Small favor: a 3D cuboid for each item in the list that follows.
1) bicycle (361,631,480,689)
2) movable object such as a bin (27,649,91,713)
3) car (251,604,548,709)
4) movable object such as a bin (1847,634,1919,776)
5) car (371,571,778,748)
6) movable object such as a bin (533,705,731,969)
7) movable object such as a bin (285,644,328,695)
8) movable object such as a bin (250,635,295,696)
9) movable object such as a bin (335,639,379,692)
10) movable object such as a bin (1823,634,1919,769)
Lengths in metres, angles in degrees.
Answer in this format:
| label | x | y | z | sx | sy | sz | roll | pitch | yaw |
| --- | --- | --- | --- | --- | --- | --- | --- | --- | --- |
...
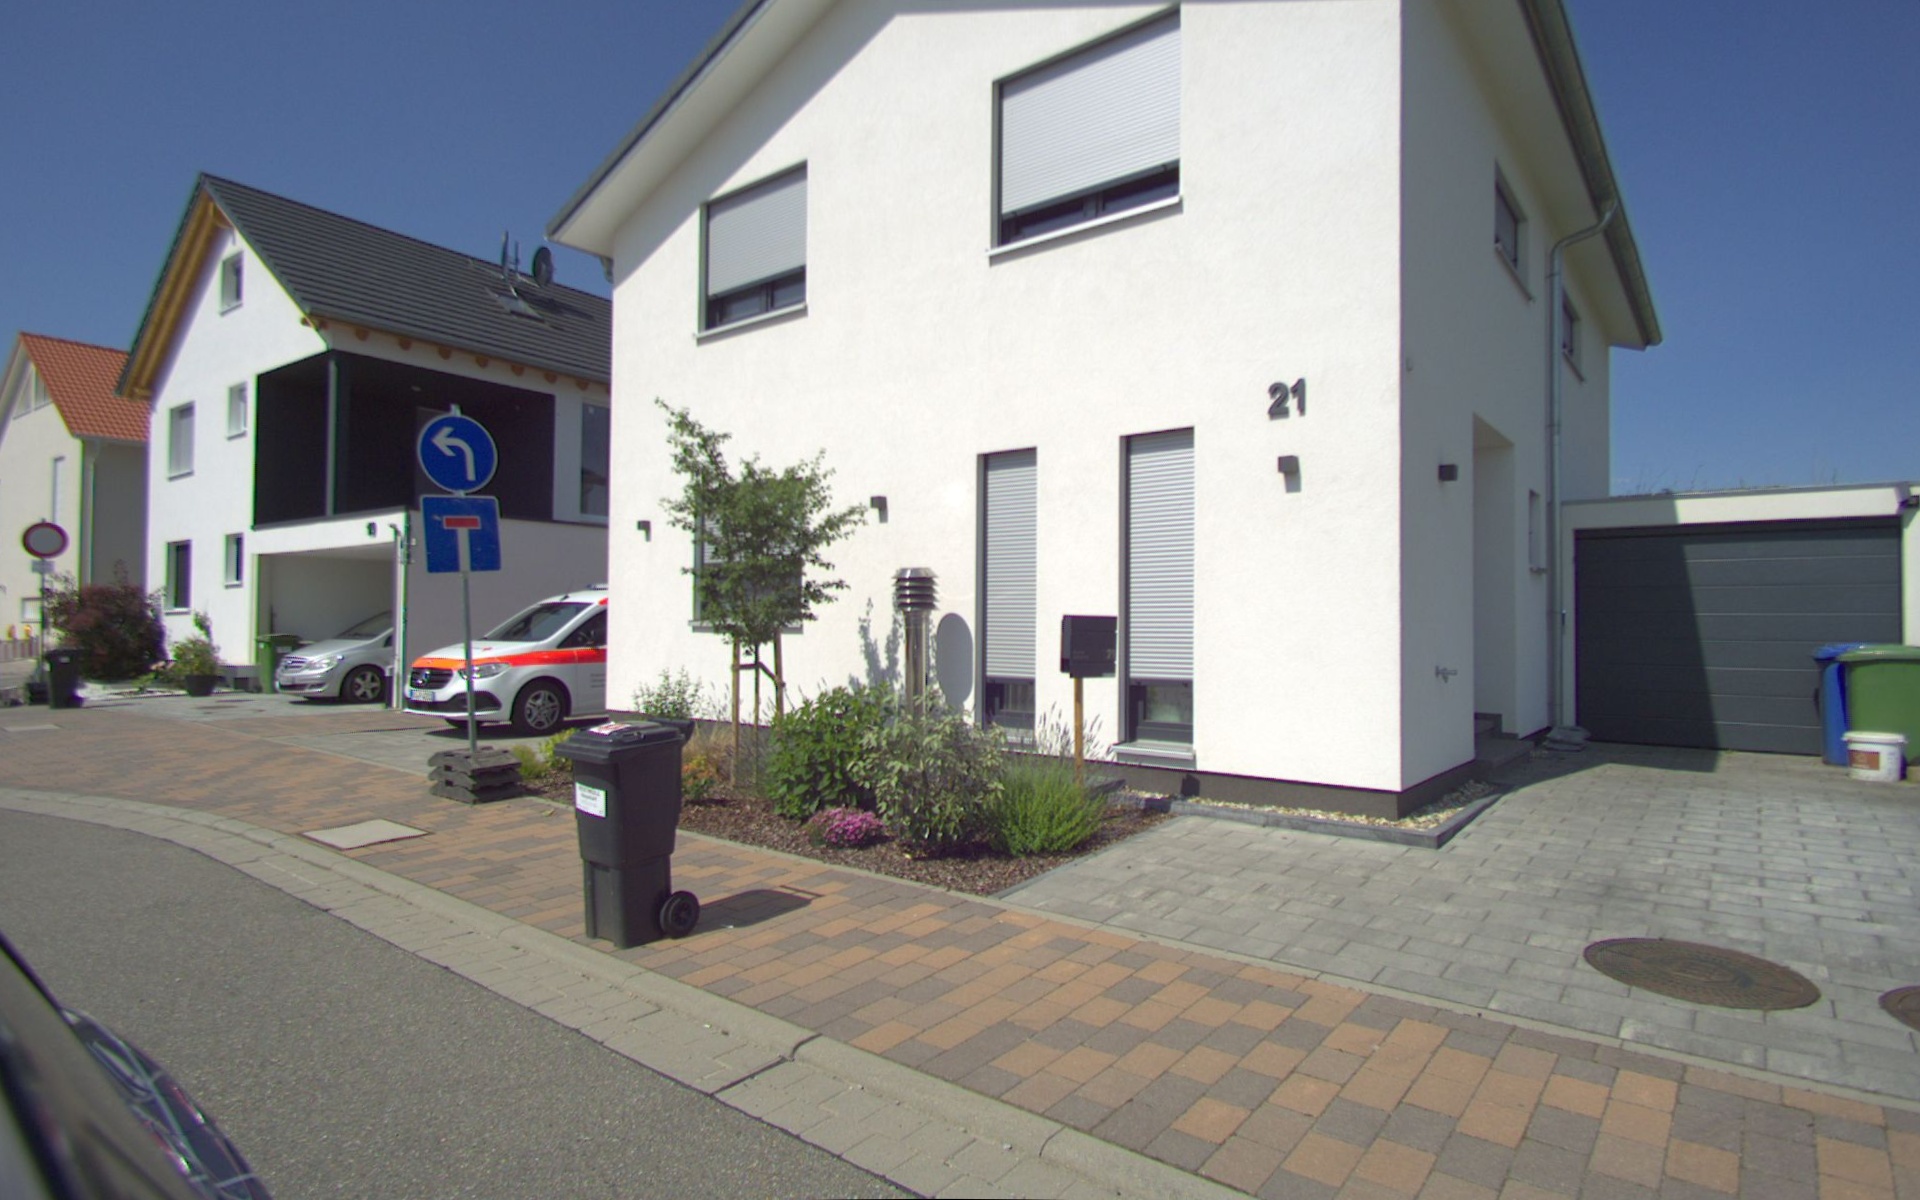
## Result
| label | x | y | z | sx | sy | sz | roll | pitch | yaw |
| --- | --- | --- | --- | --- | --- | --- | --- | --- | --- |
| bicycle | -11.343 | 1.236 | 21.347 | 0.776 | 1.135 | 2.111 | 0 | -1 | 30 |
| movable object such as a bin | -13.919 | 1.234 | 15.640 | 0.563 | 0.944 | 0.611 | -2 | -2 | 34 |
| car | -9.471 | 0.935 | 17.440 | 1.740 | 1.574 | 4.118 | -1 | -3 | 33 |
| movable object such as a bin | 7.725 | 0.840 | 8.177 | 0.784 | 1.107 | 0.653 | -1 | -3 | 38 |
| car | -4.781 | 0.723 | 13.273 | 1.934 | 1.889 | 4.694 | -1 | -2 | 36 |
| movable object such as a bin | -1.393 | 0.963 | 4.340 | 0.499 | 0.955 | 0.618 | 0 | -1 | 34 |
| movable object such as a bin | -12.302 | 1.298 | 19.056 | 0.560 | 0.912 | 0.494 | 0 | -1 | 34 |
| movable object such as a bin | -12.602 | 1.199 | 18.555 | 0.600 | 1.100 | 0.494 | -3 | -3 | 34 |
| movable object such as a bin | -11.841 | 1.277 | 19.865 | 0.675 | 0.994 | 0.494 | 0 | -1 | 34 |
| movable object such as a bin | 8.010 | 0.856 | 8.743 | 0.807 | 1.107 | 0.663 | -1 | -3 | 40 |
